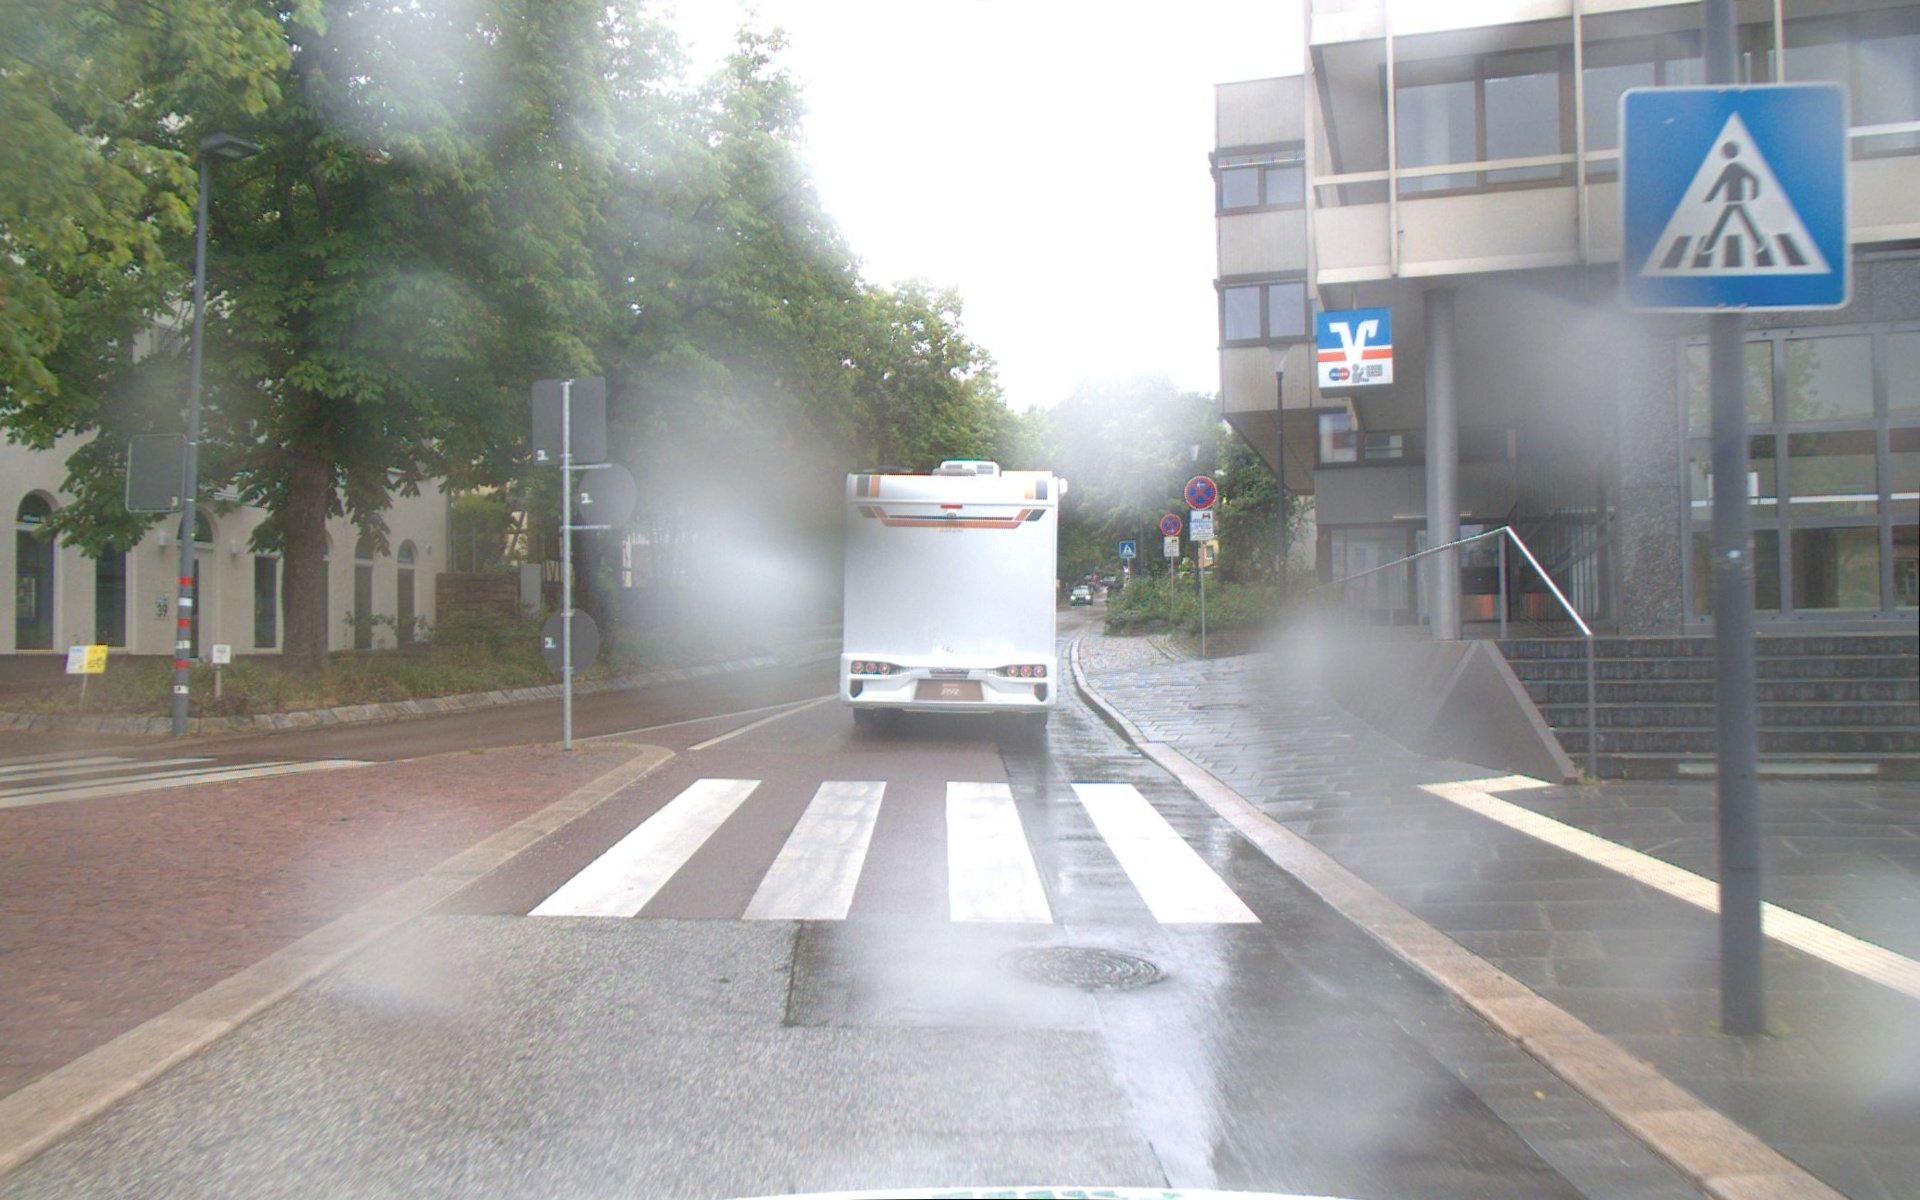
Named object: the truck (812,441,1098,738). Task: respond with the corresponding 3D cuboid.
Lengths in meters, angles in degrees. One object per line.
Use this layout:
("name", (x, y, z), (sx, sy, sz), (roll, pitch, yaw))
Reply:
("truck", (-0.046, -0.044, 19.487), (2.748, 2.846, 6.106), (-2, -1, 0))

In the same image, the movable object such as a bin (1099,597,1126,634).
("movable object such as a bin", (4.890, 0.497, 53.013), (0.689, 1.144, 0.571), (-3, -2, 22))
